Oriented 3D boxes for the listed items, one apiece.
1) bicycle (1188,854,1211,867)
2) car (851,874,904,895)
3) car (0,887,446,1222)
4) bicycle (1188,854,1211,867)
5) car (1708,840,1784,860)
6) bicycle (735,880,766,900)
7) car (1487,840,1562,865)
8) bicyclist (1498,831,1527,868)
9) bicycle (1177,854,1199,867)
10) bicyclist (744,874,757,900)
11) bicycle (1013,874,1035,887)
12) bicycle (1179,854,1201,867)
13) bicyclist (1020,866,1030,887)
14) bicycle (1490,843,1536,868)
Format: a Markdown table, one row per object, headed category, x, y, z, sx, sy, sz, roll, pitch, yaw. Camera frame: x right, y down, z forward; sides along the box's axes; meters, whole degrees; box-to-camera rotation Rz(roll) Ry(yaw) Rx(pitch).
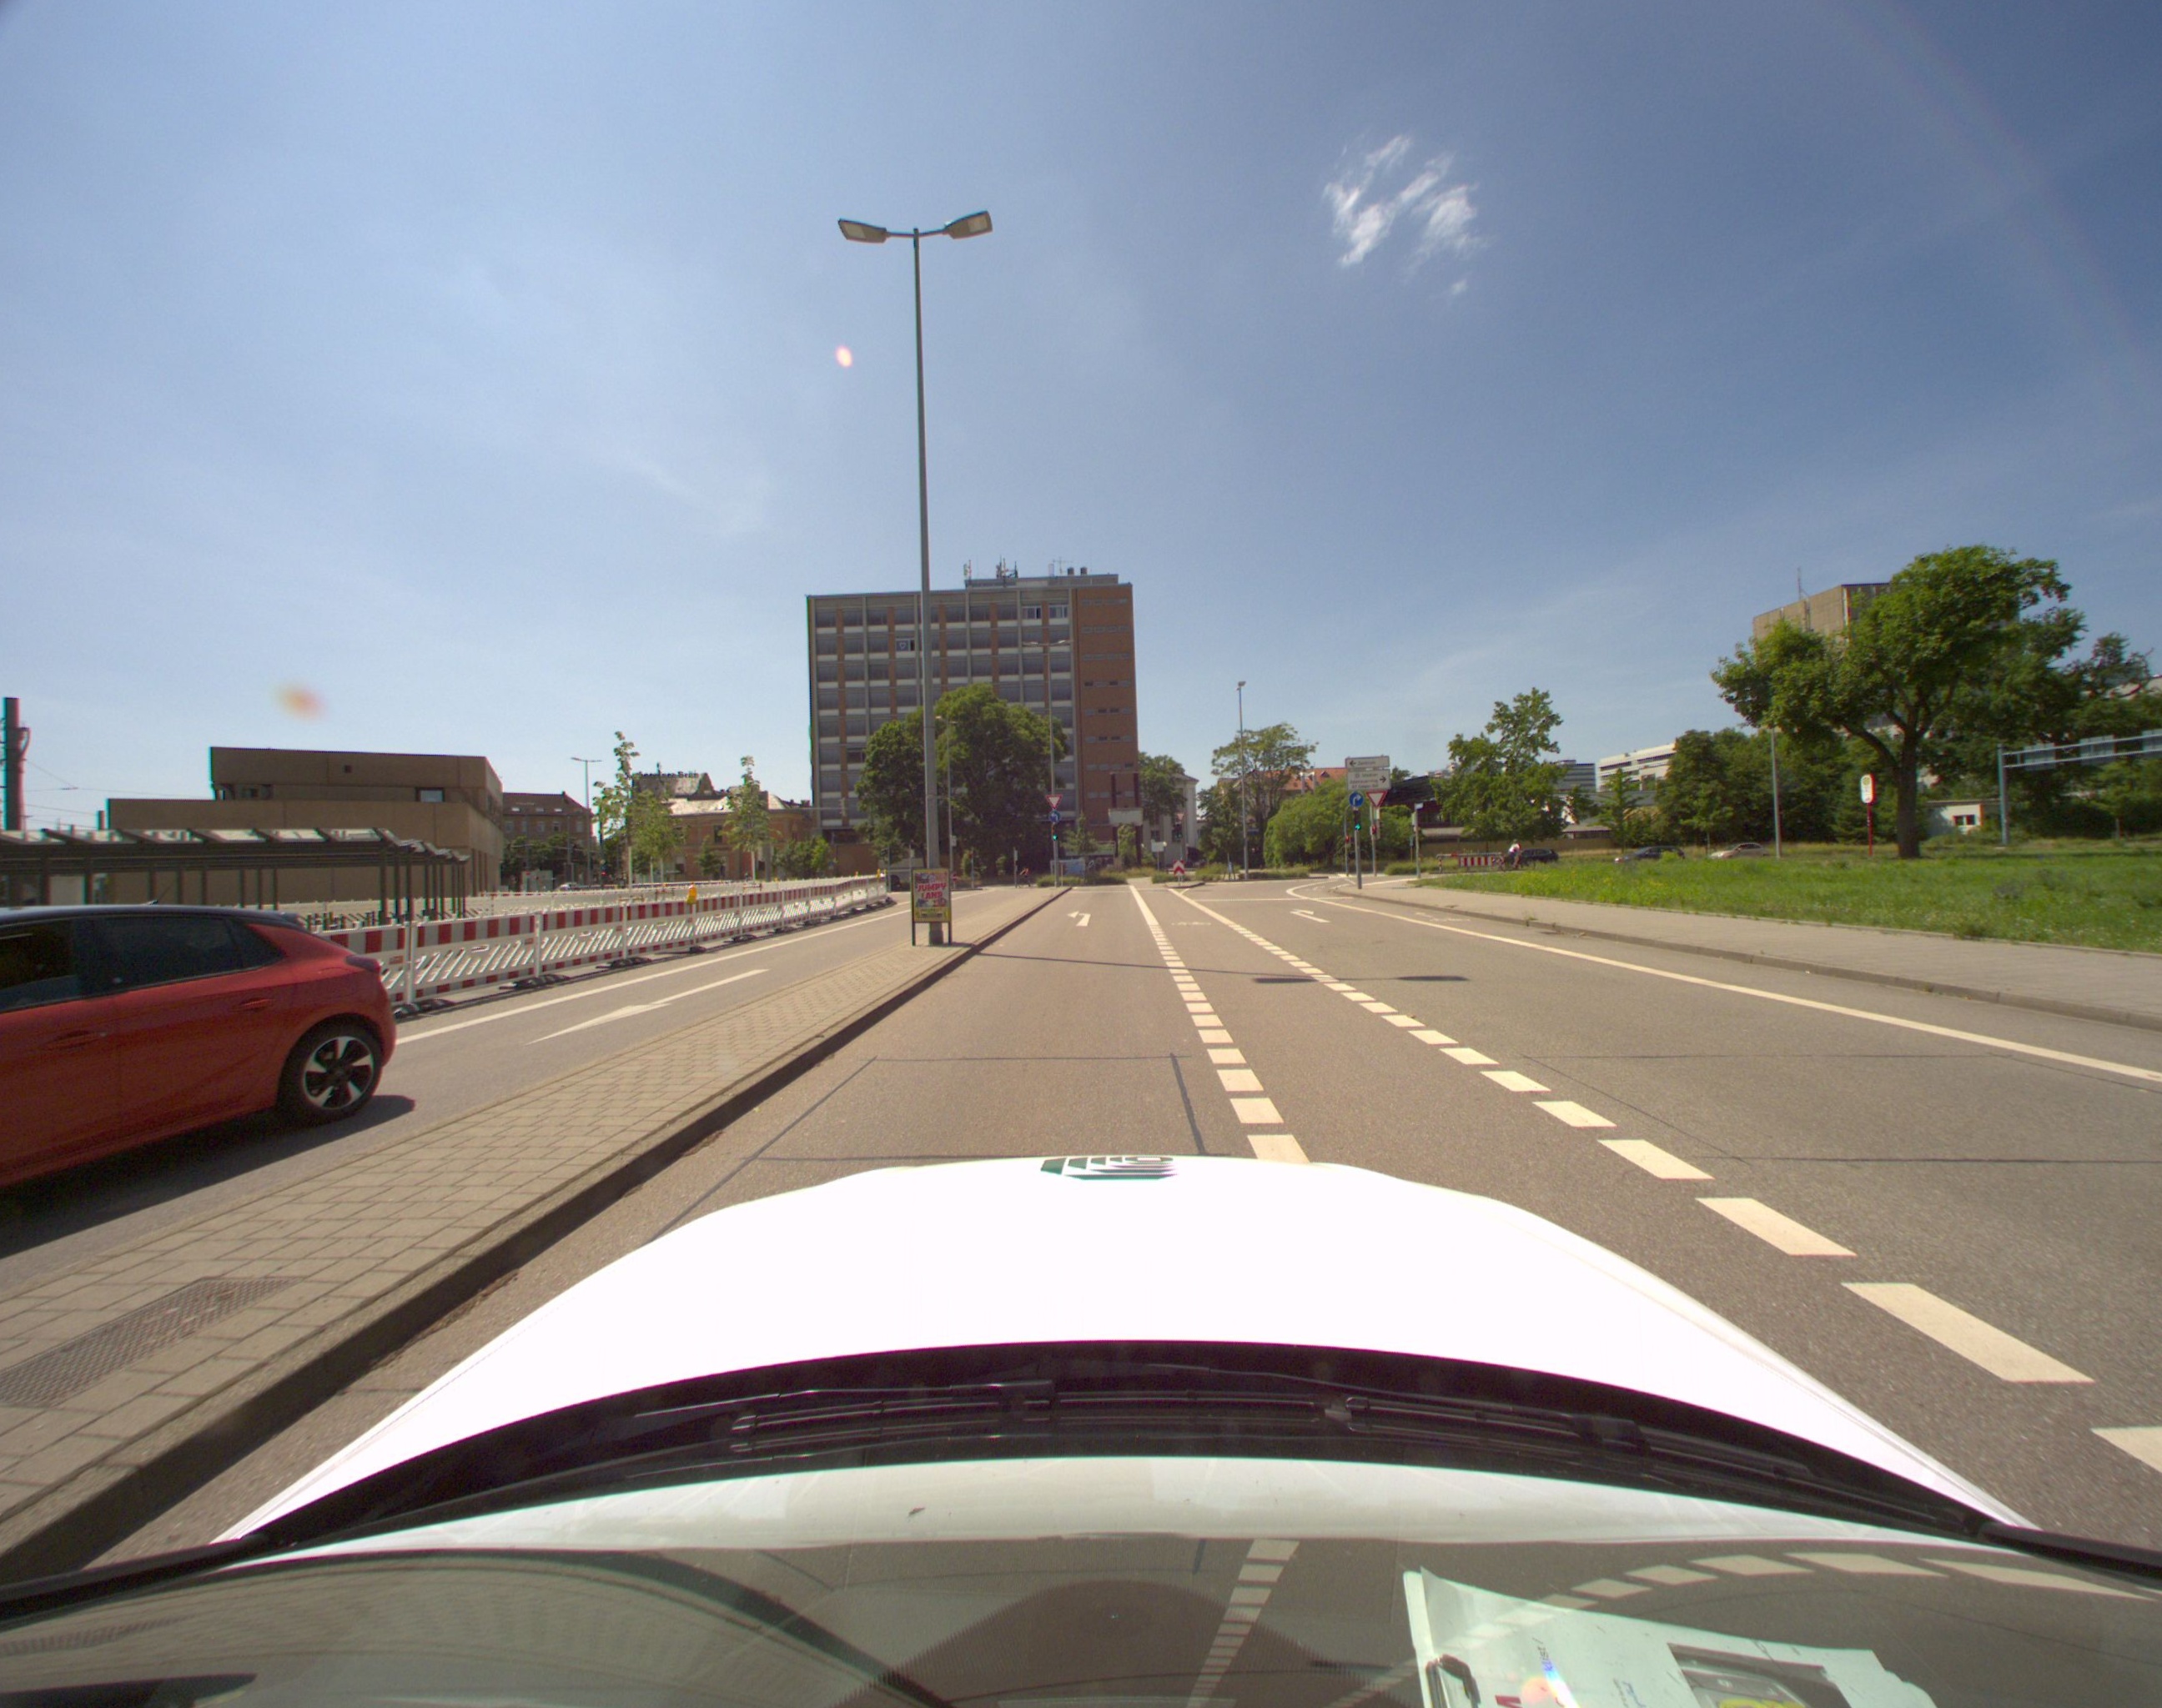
| category | x | y | z | sx | sy | sz | roll | pitch | yaw |
| --- | --- | --- | --- | --- | --- | --- | --- | --- | --- |
| bicycle | 18.484 | 1.006 | 126.806 | 3.432 | 2.014 | 0.761 | 0 | -1 | 4 |
| car | -16.132 | 2.398 | 64.543 | 3.736 | 1.552 | 1.624 | 0 | -1 | 13 |
| car | -5.513 | 0.957 | 3.843 | 1.681 | 1.378 | 4.016 | -4 | -1 | 2 |
| bicycle | 18.296 | 1.012 | 125.643 | 3.432 | 2.014 | 0.761 | 0 | -1 | 4 |
| car | 47.595 | -0.272 | 58.350 | 3.972 | 1.439 | 1.760 | 0 | -1 | 1 |
| bicycle | -20.939 | 2.281 | 51.582 | 1.876 | 1.180 | 0.527 | -3 | -2 | 19 |
| car | 32.395 | -0.110 | 59.584 | 4.515 | 1.586 | 1.713 | -3 | -1 | 8 |
| bicyclist | 22.167 | -0.217 | 41.852 | 1.133 | 1.887 | 0.707 | 0 | -1 | -7 |
| bicycle | 17.251 | 1.009 | 130.995 | 3.432 | 2.014 | 0.761 | 0 | -1 | 4 |
| bicyclist | -20.928 | 2.080 | 51.588 | 0.492 | 1.580 | 0.534 | -3 | -2 | 19 |
| bicycle | -4.921 | 2.295 | 70.455 | 0.551 | 1.045 | 2.009 | -1 | 1 | 44 |
| bicycle | 17.273 | 1.061 | 128.725 | 3.432 | 2.014 | 0.761 | 0 | -1 | 4 |
| bicyclist | -4.840 | 1.940 | 70.522 | 0.544 | 1.715 | 0.707 | -1 | 0 | 43 |
| bicycle | 22.166 | 0.073 | 41.821 | 2.182 | 1.237 | 0.520 | 0 | -1 | -6 |
